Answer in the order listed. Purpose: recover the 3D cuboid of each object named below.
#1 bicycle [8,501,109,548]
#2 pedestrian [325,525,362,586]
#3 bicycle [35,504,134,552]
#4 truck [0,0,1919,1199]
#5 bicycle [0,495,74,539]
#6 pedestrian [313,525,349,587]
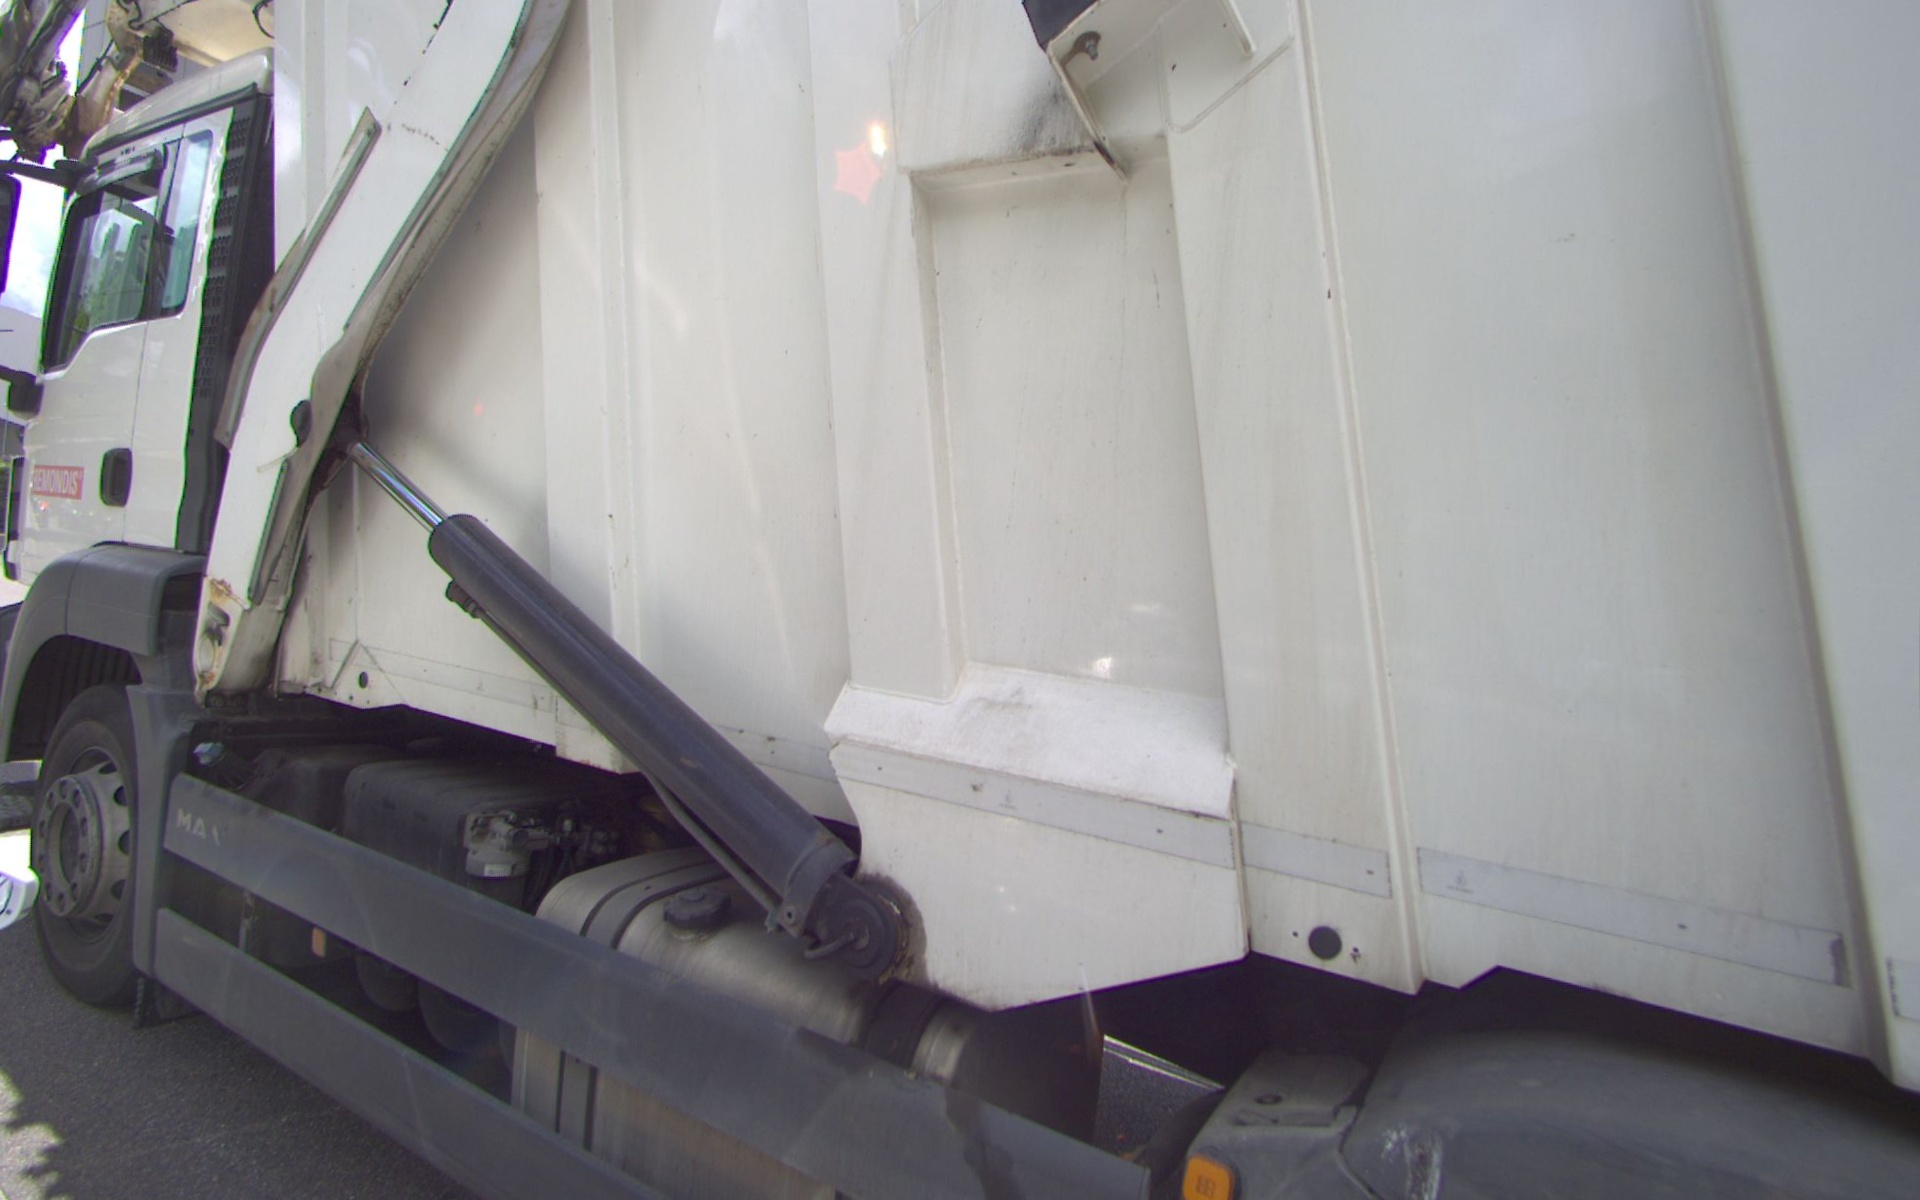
[{"bbox_3d":[-27.972,-2.328,31.240,2.197,1.099,0.474,8,-1,-23],"label":"bicycle"},{"bbox_3d":[-19.414,-1.402,31.676,0.684,1.818,0.708,8,4,42],"label":"pedestrian"},{"bbox_3d":[-27.025,-2.209,31.075,2.166,1.099,0.474,8,-1,-23],"label":"bicycle"},{"bbox_3d":[1.102,-0.314,2.171,10.003,3.958,2.494,6,-1,31],"label":"truck"},{"bbox_3d":[-29.305,-2.635,31.490,2.197,1.099,0.474,8,-1,-23],"label":"bicycle"},{"bbox_3d":[-19.254,-1.340,30.780,0.707,1.818,0.635,3,4,-44],"label":"pedestrian"}]
